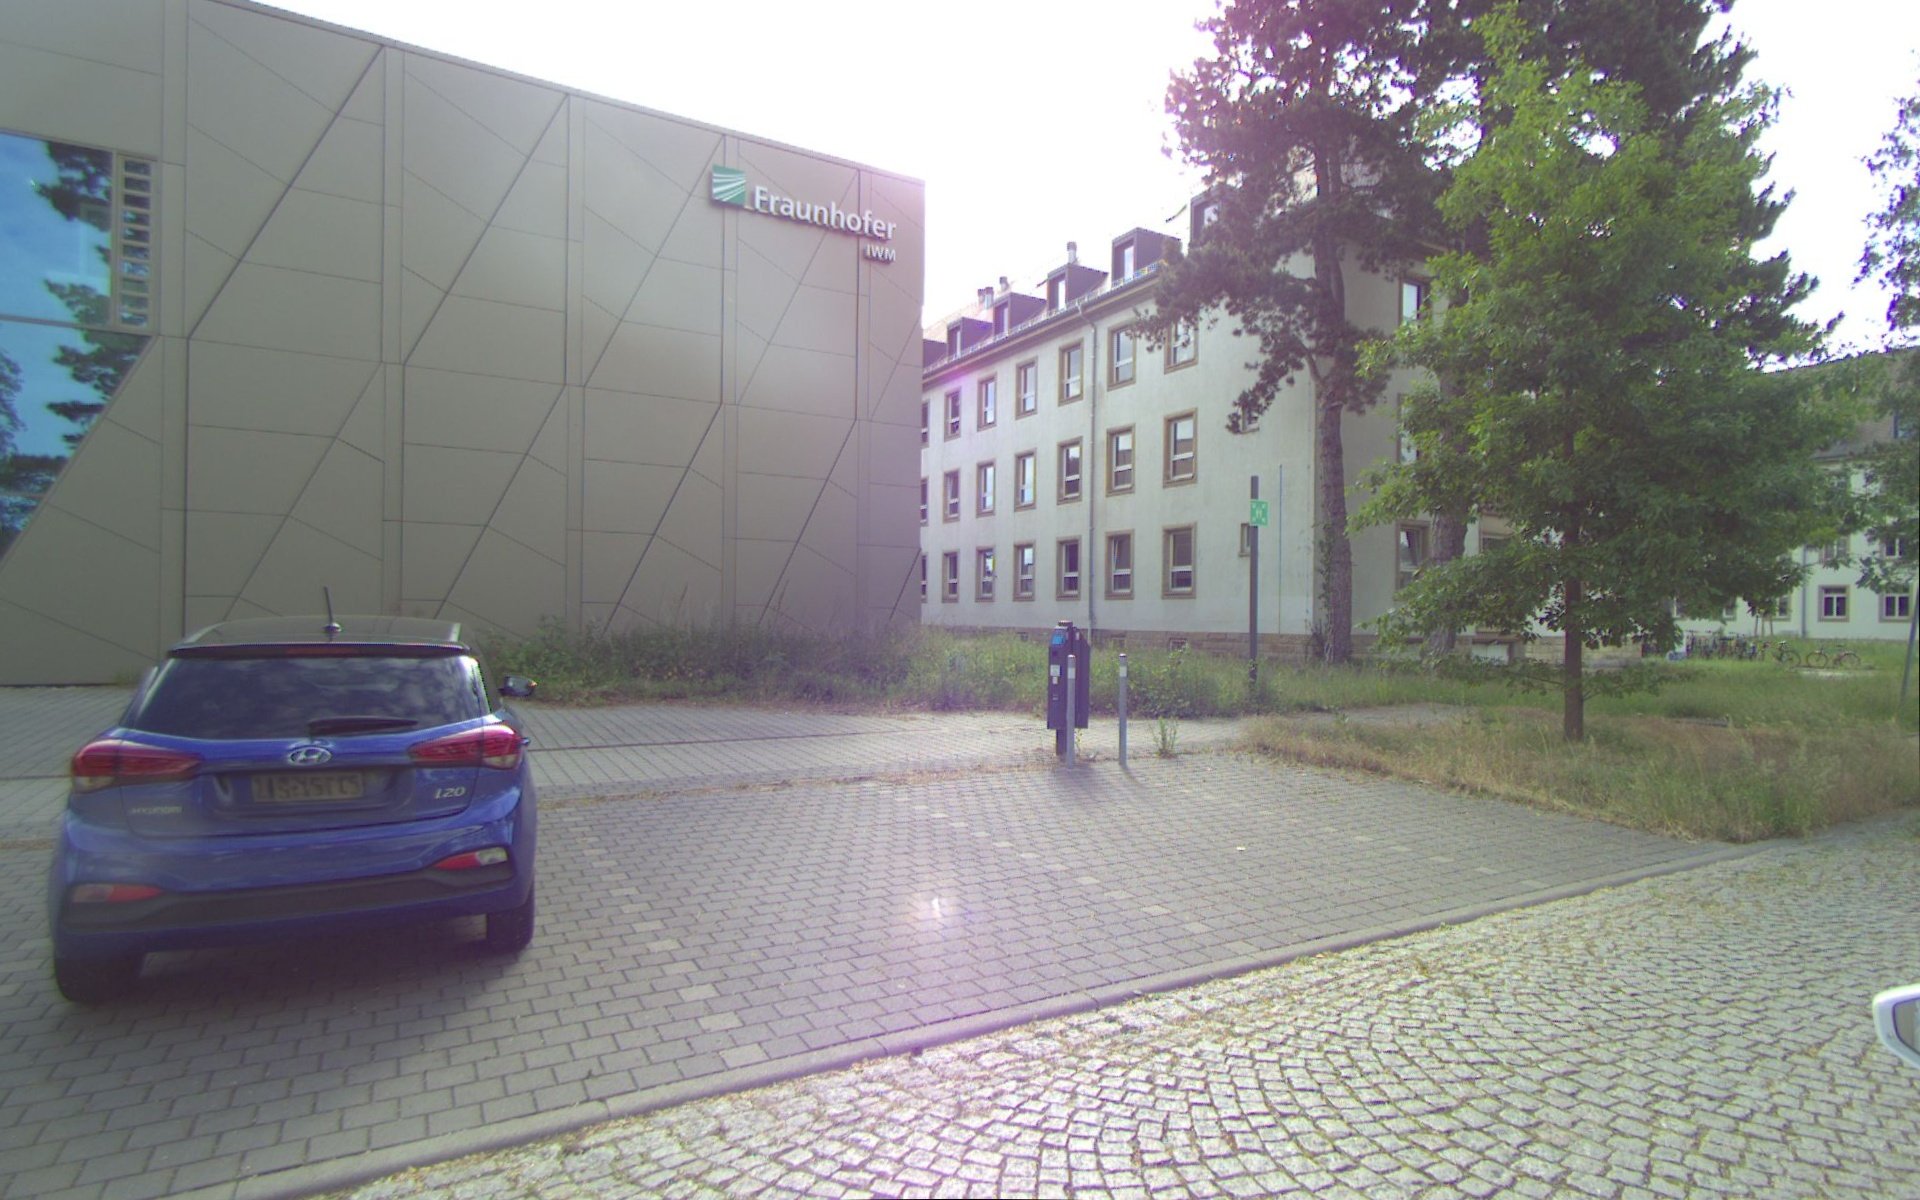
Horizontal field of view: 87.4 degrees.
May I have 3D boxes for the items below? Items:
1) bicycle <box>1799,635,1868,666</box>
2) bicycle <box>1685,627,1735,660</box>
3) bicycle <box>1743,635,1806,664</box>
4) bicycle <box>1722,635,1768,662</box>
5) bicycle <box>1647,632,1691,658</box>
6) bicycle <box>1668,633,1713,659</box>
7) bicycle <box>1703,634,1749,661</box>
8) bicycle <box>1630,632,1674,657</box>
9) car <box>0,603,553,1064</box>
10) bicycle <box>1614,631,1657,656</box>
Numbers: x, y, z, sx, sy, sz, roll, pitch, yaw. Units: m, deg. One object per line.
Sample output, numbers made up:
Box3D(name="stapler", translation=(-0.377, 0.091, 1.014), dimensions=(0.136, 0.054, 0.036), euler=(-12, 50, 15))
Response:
Box3D(name="bicycle", translation=(33.354, 1.911, 38.371), dimensions=(0.821, 1.090, 1.849), euler=(1, -1, -27))
Box3D(name="bicycle", translation=(32.322, 1.873, 43.272), dimensions=(2.679, 1.404, 0.732), euler=(1, -1, -30))
Box3D(name="bicycle", translation=(32.410, 1.949, 39.997), dimensions=(0.729, 1.090, 1.849), euler=(1, -1, -27))
Box3D(name="bicycle", translation=(32.756, 1.999, 41.923), dimensions=(2.246, 1.090, 0.732), euler=(1, -1, -30))
Box3D(name="bicycle", translation=(31.296, 1.984, 44.340), dimensions=(2.246, 1.090, 0.732), euler=(1, -1, -30))
Box3D(name="bicycle", translation=(32.027, 2.015, 44.025), dimensions=(2.246, 1.090, 0.732), euler=(1, -1, -30))
Box3D(name="bicycle", translation=(32.378, 2.009, 42.443), dimensions=(2.246, 1.090, 0.732), euler=(1, -1, -30))
Box3D(name="bicycle", translation=(31.003, 1.988, 45.016), dimensions=(2.246, 1.090, 0.732), euler=(1, -1, -30))
Box3D(name="car", translation=(-3.362, 0.816, 5.462), dimensions=(1.828, 1.498, 3.752), euler=(1, 0, -27))
Box3D(name="bicycle", translation=(30.726, 1.987, 45.674), dimensions=(2.246, 1.090, 0.732), euler=(1, -1, -30))
